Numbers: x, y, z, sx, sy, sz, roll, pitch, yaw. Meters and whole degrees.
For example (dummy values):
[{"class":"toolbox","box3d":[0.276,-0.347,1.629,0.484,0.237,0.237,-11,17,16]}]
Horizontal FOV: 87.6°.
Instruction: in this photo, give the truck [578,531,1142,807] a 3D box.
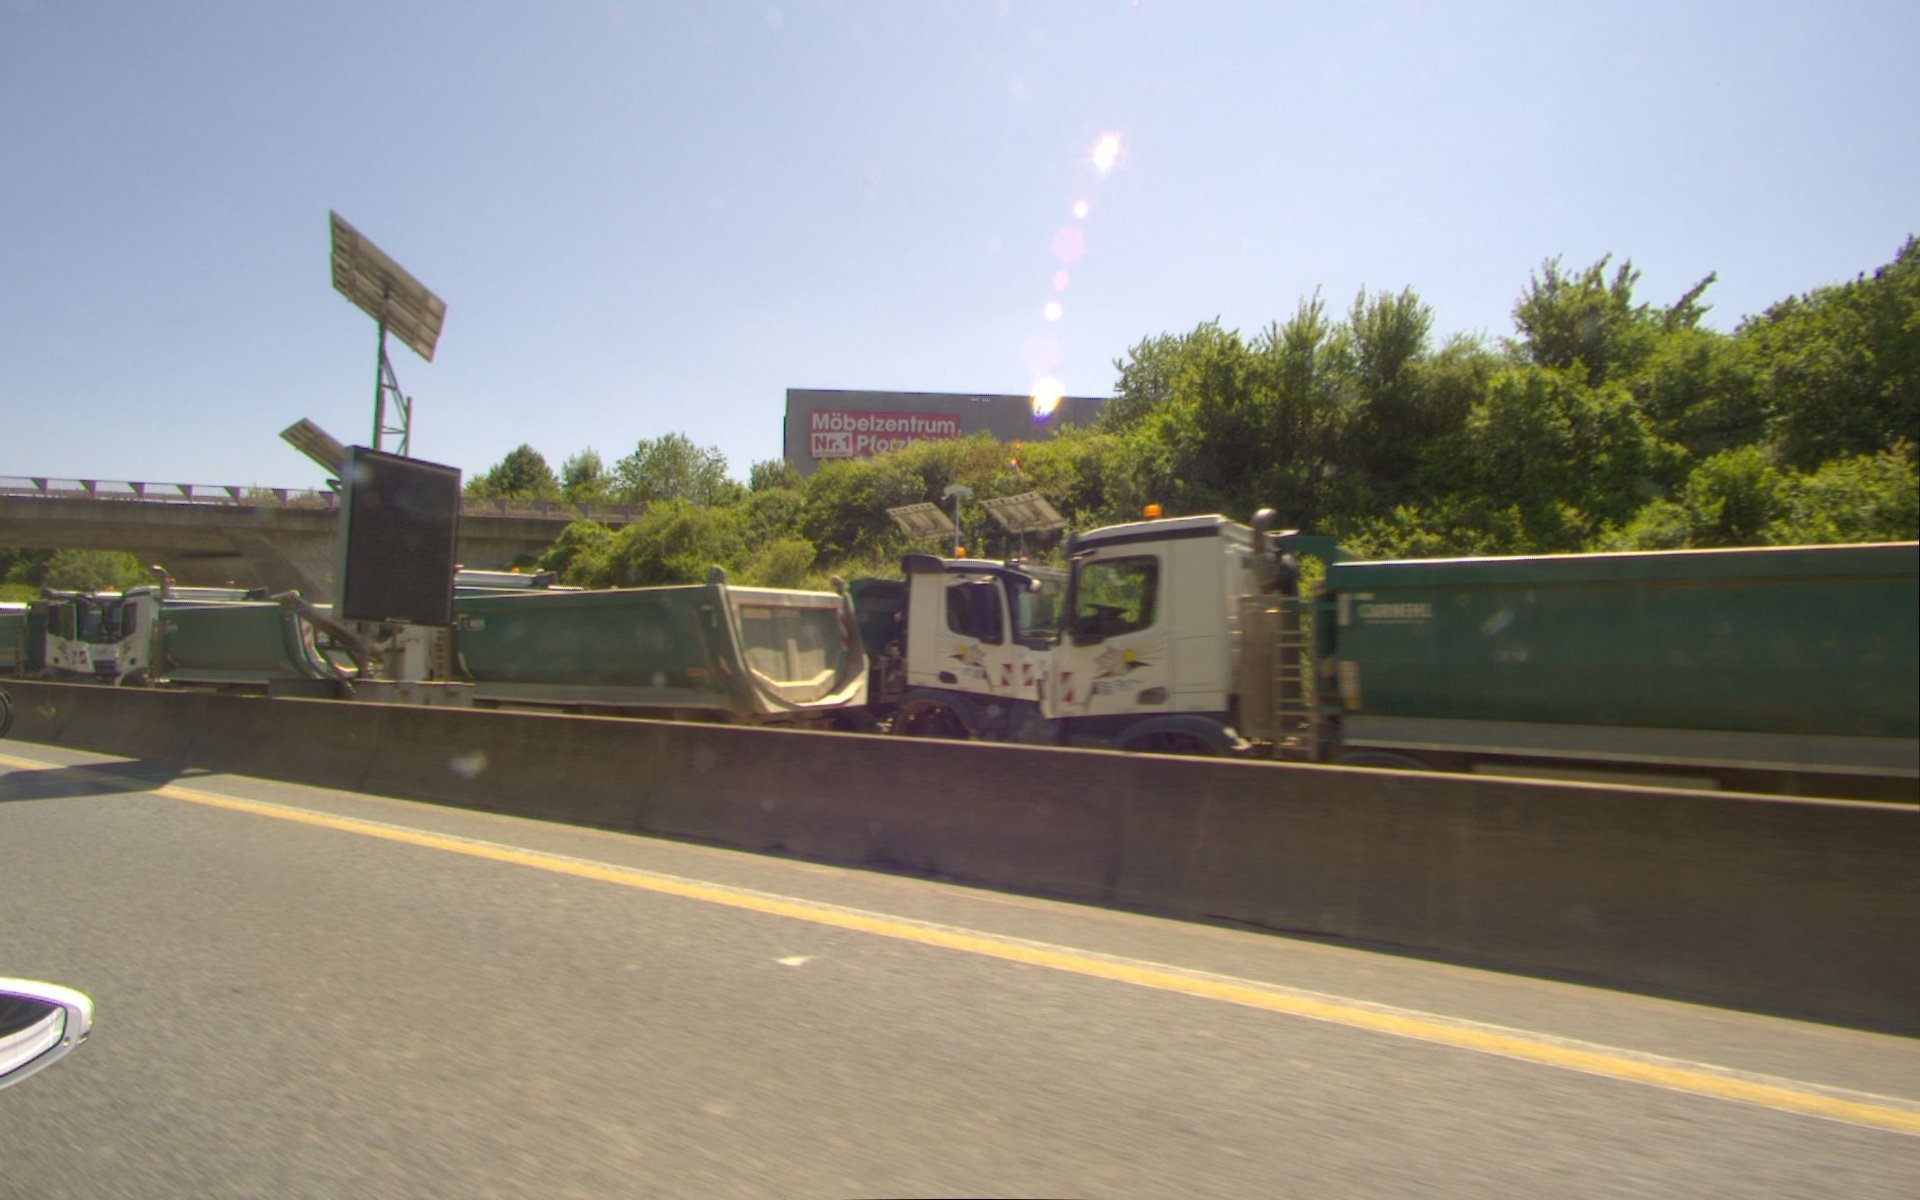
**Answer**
[{"class":"truck","box3d":[-2.008,0.972,16.125,9.467,3.420,2.682,-1,-2,33]}]

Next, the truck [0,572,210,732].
[{"class":"truck","box3d":[-23.199,1.287,26.009,9.188,3.602,2.684,-1,-2,31]}]

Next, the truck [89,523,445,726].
[{"class":"truck","box3d":[-14.966,0.556,21.316,9.188,3.602,2.684,-1,-2,31]}]

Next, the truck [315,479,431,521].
[{"class":"truck","box3d":[-33.625,-5.703,57.445,5.408,2.092,1.937,0,-2,-4]}]

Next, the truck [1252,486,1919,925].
[{"class":"truck","box3d":[7.951,0.921,9.779,9.464,3.602,2.683,-1,-2,32]}]

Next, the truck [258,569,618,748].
[{"class":"truck","box3d":[-12.082,1.240,22.763,9.461,3.420,2.684,-1,-2,31]}]

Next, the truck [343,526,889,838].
[{"class":"truck","box3d":[-5.600,1.063,15.220,9.273,3.602,2.683,-1,-2,33]}]

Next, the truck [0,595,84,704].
[{"class":"truck","box3d":[-35.115,1.732,36.045,9.188,3.602,2.684,-1,-2,31]}]

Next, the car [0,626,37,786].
[{"class":"car","box3d":[-11.501,1.038,10.214,4.878,1.509,1.896,-2,-3,33]}]

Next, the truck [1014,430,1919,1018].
[{"class":"truck","box3d":[5.216,0.829,8.157,9.465,3.602,2.683,-1,-2,32]}]
